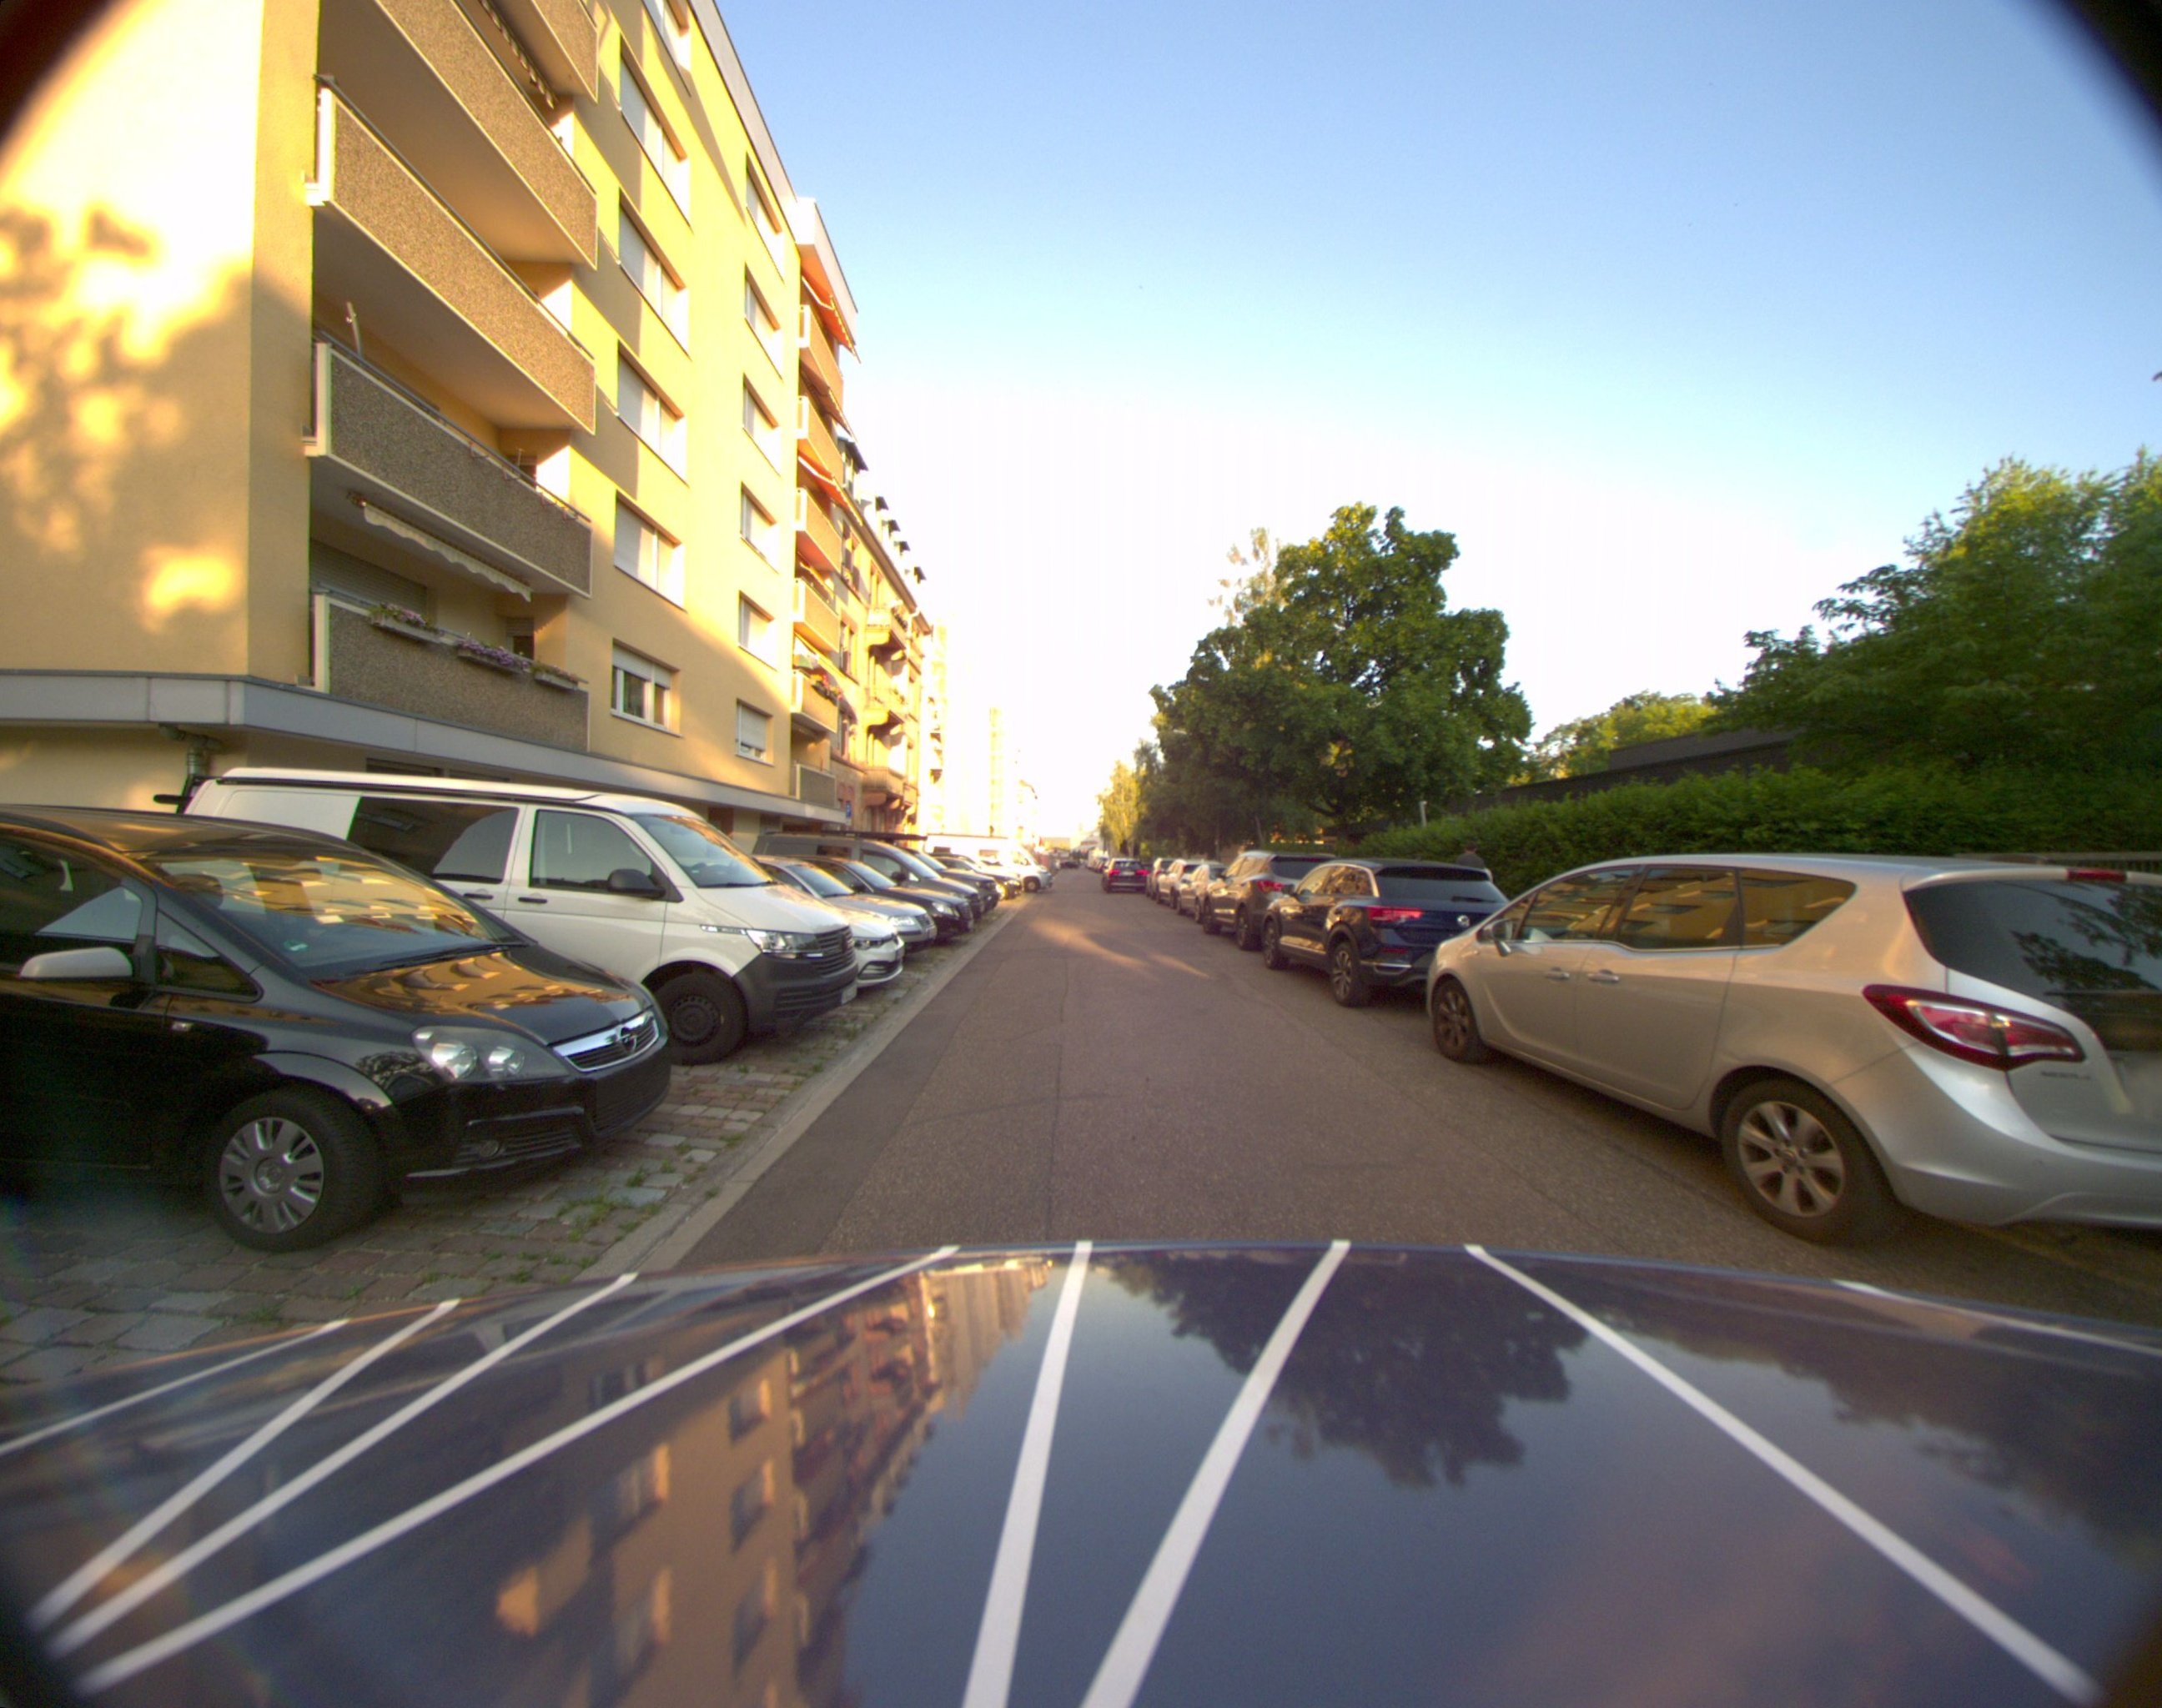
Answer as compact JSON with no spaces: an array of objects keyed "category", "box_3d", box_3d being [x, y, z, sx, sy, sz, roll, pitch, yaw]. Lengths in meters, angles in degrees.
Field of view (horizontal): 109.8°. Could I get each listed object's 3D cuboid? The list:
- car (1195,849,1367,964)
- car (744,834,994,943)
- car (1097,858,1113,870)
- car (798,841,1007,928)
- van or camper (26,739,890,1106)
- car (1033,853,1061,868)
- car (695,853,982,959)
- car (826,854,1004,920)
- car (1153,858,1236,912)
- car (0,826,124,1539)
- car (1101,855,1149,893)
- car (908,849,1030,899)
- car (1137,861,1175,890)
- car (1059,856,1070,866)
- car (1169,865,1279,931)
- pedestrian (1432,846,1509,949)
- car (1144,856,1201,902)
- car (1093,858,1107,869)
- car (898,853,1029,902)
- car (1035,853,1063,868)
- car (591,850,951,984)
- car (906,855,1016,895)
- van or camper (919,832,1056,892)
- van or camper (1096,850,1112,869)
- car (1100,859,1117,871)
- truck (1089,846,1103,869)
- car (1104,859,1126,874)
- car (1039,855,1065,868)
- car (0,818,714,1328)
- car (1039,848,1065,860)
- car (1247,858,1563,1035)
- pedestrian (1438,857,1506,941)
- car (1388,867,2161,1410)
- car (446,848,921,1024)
[{"category":"car","box_3d":[3.413,0.819,13.854,1.738,1.720,4.322,2,0,-3]},{"category":"car","box_3d":[-4.276,0.660,15.843,4.649,1.970,1.845,2,2,-1]},{"category":"car","box_3d":[3.020,1.250,96.174,1.738,1.502,4.291,2,0,-1]},{"category":"car","box_3d":[-4.148,0.698,18.232,4.524,1.852,1.845,2,0,-1]},{"category":"van or camper","box_3d":[-4.444,0.485,6.188,5.147,2.155,2.039,4,1,-2]},{"category":"car","box_3d":[-4.866,0.935,109.747,3.997,2.002,2.000,0,0,-1]},{"category":"car","box_3d":[-4.090,0.853,13.343,4.415,1.554,1.845,2,2,-1]},{"category":"car","box_3d":[-4.462,0.865,20.881,4.414,1.545,1.845,2,2,2]},{"category":"car","box_3d":[3.519,0.911,24.413,1.764,1.534,4.279,2,0,-3]},{"category":"car","box_3d":[-4.652,0.672,0.943,4.416,1.652,1.844,3,2,-3]},{"category":"car","box_3d":[2.010,0.912,35.575,1.738,1.621,4.124,2,0,-3]},{"category":"car","box_3d":[-4.380,0.750,30.157,4.413,1.739,1.846,2,2,5]},{"category":"car","box_3d":[3.994,1.119,40.914,1.624,1.417,3.415,2,0,0]},{"category":"car","box_3d":[-2.834,1.186,130.649,1.738,1.502,4.291,2,0,-1]},{"category":"car","box_3d":[3.523,1.045,19.520,1.738,1.418,4.286,2,0,-3]},{"category":"pedestrian","box_3d":[6.809,0.745,13.324,0.901,1.722,0.750,-2,0,-2]},{"category":"car","box_3d":[3.507,0.926,29.760,1.738,1.621,3.980,2,0,0]},{"category":"car","box_3d":[2.732,1.320,110.909,1.738,1.502,4.291,2,0,-1]},{"category":"car","box_3d":[-4.185,0.819,27.588,4.414,1.545,1.845,2,2,0]},{"category":"car","box_3d":[-4.486,0.937,107.203,3.997,2.002,2.000,0,0,-1]},{"category":"car","box_3d":[-4.250,0.836,10.954,4.415,1.584,1.845,2,2,-1]},{"category":"car","box_3d":[-5.093,0.876,32.684,4.414,1.610,1.845,0,2,1]},{"category":"van or camper","box_3d":[-4.279,0.359,35.543,6.075,2.489,2.050,2,0,0]},{"category":"van or camper","box_3d":[3.062,0.773,101.704,1.825,2.400,4.291,2,0,-1]},{"category":"car","box_3d":[3.205,1.266,90.342,1.738,1.358,4.291,2,0,-1]},{"category":"truck","box_3d":[2.545,0.534,128.850,2.183,3.860,4.926,0,0,0]},{"category":"car","box_3d":[3.179,1.183,72.105,1.738,1.358,4.291,2,0,-1]},{"category":"car","box_3d":[-4.488,1.211,118.260,3.997,2.002,2.000,0,0,-1]},{"category":"car","box_3d":[-4.339,0.751,3.521,4.338,1.652,1.780,3,2,-3]},{"category":"car","box_3d":[-4.608,0.024,121.405,3.997,2.002,2.000,0,0,-1]},{"category":"car","box_3d":[3.419,0.864,9.014,1.738,1.558,4.166,2,0,-3]},{"category":"pedestrian","box_3d":[7.355,0.829,14.328,0.750,1.499,0.901,-2,0,-2]},{"category":"car","box_3d":[3.581,0.905,4.358,1.738,1.558,4.128,2,0,-3]},{"category":"car","box_3d":[-4.236,0.833,8.651,4.415,1.622,1.845,2,2,-1]}]
